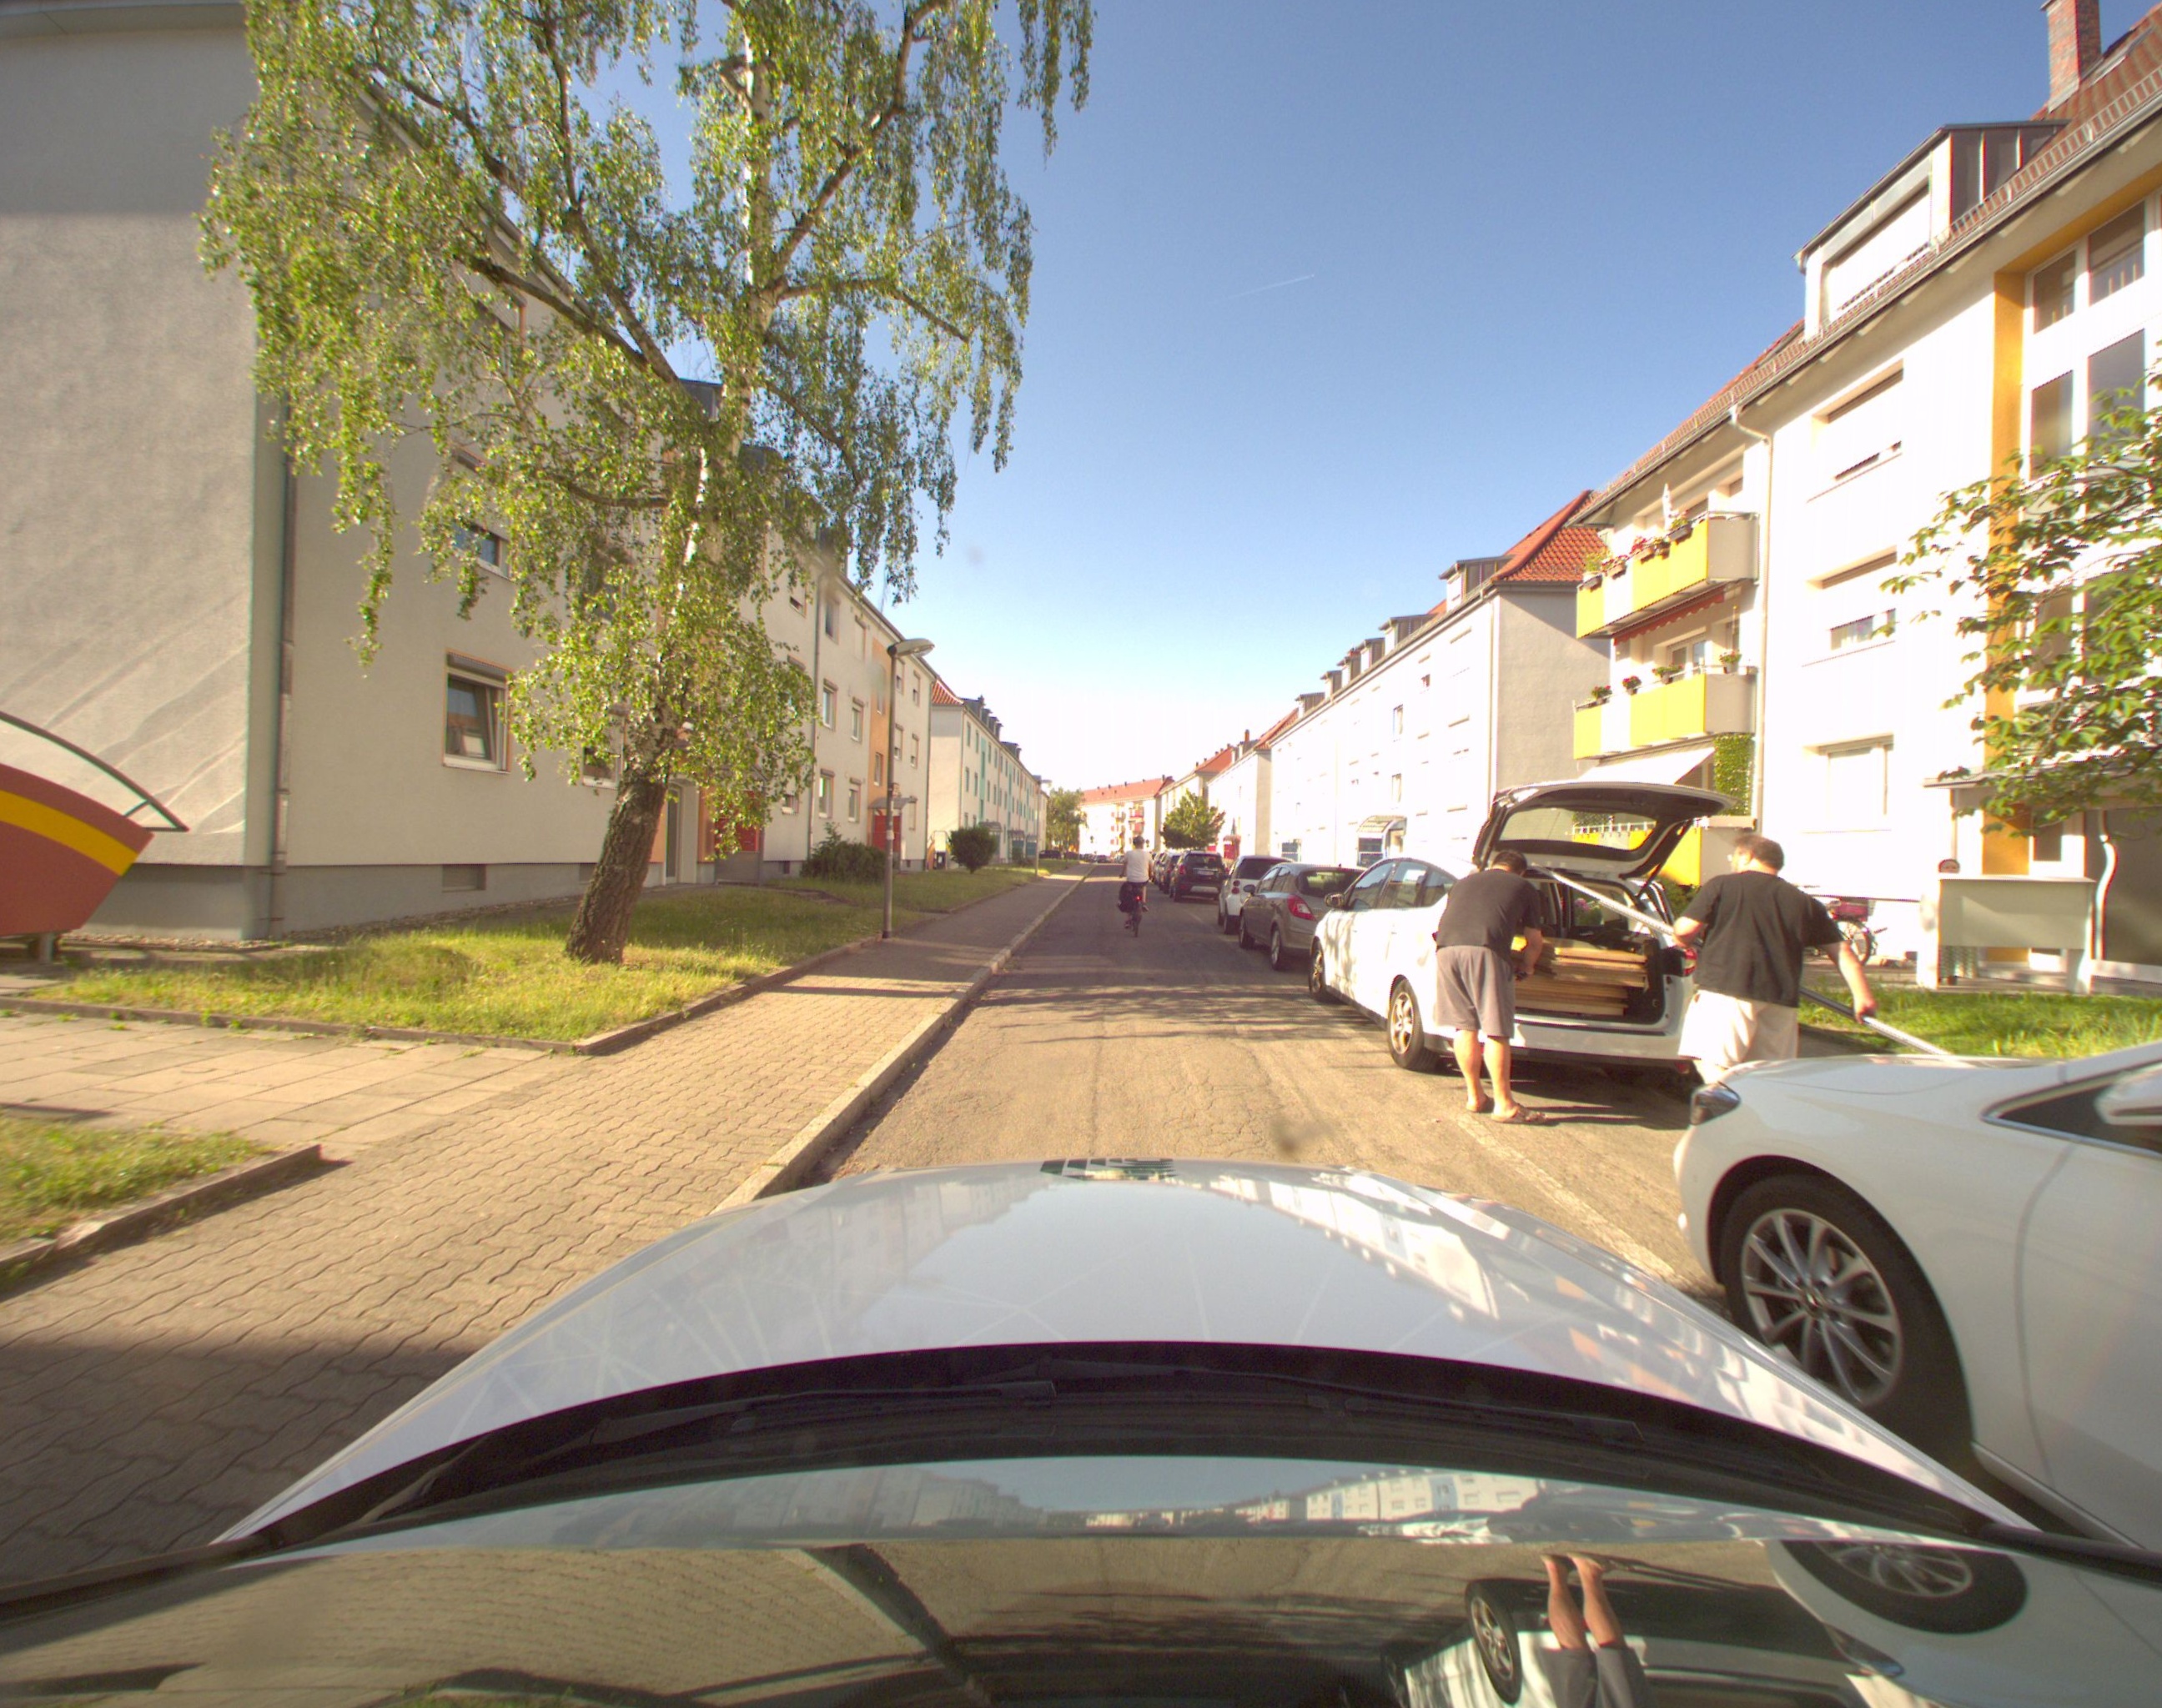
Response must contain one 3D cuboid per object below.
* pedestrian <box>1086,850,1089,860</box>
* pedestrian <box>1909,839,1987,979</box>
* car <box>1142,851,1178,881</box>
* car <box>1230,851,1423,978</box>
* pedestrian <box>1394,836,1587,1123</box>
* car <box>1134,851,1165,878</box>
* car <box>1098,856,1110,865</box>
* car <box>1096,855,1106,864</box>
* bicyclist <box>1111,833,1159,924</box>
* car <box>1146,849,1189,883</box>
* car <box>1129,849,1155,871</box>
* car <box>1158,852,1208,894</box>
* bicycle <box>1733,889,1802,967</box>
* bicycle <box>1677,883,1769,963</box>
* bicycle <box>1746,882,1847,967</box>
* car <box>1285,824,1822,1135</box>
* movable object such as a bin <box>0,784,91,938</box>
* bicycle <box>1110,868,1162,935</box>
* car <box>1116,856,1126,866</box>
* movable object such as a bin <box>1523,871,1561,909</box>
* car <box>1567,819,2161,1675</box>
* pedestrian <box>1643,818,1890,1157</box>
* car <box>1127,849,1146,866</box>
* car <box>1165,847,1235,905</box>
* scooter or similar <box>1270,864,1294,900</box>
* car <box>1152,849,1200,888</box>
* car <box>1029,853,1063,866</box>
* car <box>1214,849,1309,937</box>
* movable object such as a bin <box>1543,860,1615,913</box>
[{"bbox_3d":[0.960,0.157,119.820,0.432,1.574,0.543,1,0,2],"label":"pedestrian"},{"bbox_3d":[9.483,0.594,8.919,0.449,1.495,0.360,1,-2,2],"label":"pedestrian"},{"bbox_3d":[4.694,0.691,48.814,1.706,1.595,4.399,5,0,2],"label":"car"},{"bbox_3d":[3.440,0.757,12.202,1.687,1.491,3.985,4,0,1],"label":"car"},{"bbox_3d":[2.435,0.691,4.944,0.737,1.575,0.880,1,0,1],"label":"pedestrian"},{"bbox_3d":[4.700,0.691,56.415,1.855,1.668,4.129,4,0,2],"label":"car"},{"bbox_3d":[3.495,1.000,123.725,1.466,1.335,3.138,-1,0,-2],"label":"car"},{"bbox_3d":[3.070,0.835,128.105,1.464,1.335,3.140,1,0,0],"label":"car"},{"bbox_3d":[0.998,0.453,15.245,0.806,1.643,0.899,1,0,-1],"label":"bicyclist"},{"bbox_3d":[4.568,0.590,43.607,1.745,1.617,4.451,4,0,0],"label":"car"},{"bbox_3d":[5.002,0.457,67.073,1.695,1.671,4.379,3,0,0],"label":"car"},{"bbox_3d":[3.935,0.706,31.954,1.635,1.498,4.160,2,0,3],"label":"car"},{"bbox_3d":[9.559,1.026,11.339,0.737,1.047,0.239,1,0,4],"label":"bicycle"},{"bbox_3d":[9.618,1.008,12.247,0.401,1.087,1.300,1,0,3],"label":"bicycle"},{"bbox_3d":[10.508,1.007,12.009,0.401,1.132,1.274,2,0,3],"label":"bicycle"},{"bbox_3d":[3.271,0.695,7.082,1.985,1.613,5.000,4,0,4],"label":"car"},{"bbox_3d":[-10.035,0.020,7.030,1.382,1.336,1.228,4,0,1],"label":"movable object such as a bin"},{"bbox_3d":[1.000,0.841,15.271,0.806,1.128,2.101,1,0,0],"label":"bicycle"},{"bbox_3d":[6.868,1.182,140.120,1.377,1.497,3.077,3,0,0],"label":"car"},{"bbox_3d":[12.724,1.000,22.494,0.640,1.035,0.757,0,-2,2],"label":"movable object such as a bin"},{"bbox_3d":[2.810,0.729,0.965,1.766,1.505,4.480,3,0,0],"label":"car"},{"bbox_3d":[3.641,0.664,4.378,0.816,1.687,0.604,1,0,1],"label":"pedestrian"},{"bbox_3d":[6.152,0.346,90.577,1.669,1.738,3.942,3,0,0],"label":"car"},{"bbox_3d":[3.825,0.670,26.856,1.776,1.648,4.472,3,0,3],"label":"car"},{"bbox_3d":[6.770,0.938,27.468,0.481,1.149,1.590,-1,0,3],"label":"scooter or similar"},{"bbox_3d":[4.309,0.632,37.556,1.684,1.575,4.435,3,0,1],"label":"car"},{"bbox_3d":[-4.480,0.701,104.934,4.220,1.638,1.581,2,0,-2],"label":"car"},{"bbox_3d":[3.608,0.734,16.676,1.472,1.529,2.945,4,0,6],"label":"car"},{"bbox_3d":[13.665,0.890,22.391,1.323,1.407,1.107,0,-2,2],"label":"movable object such as a bin"}]
